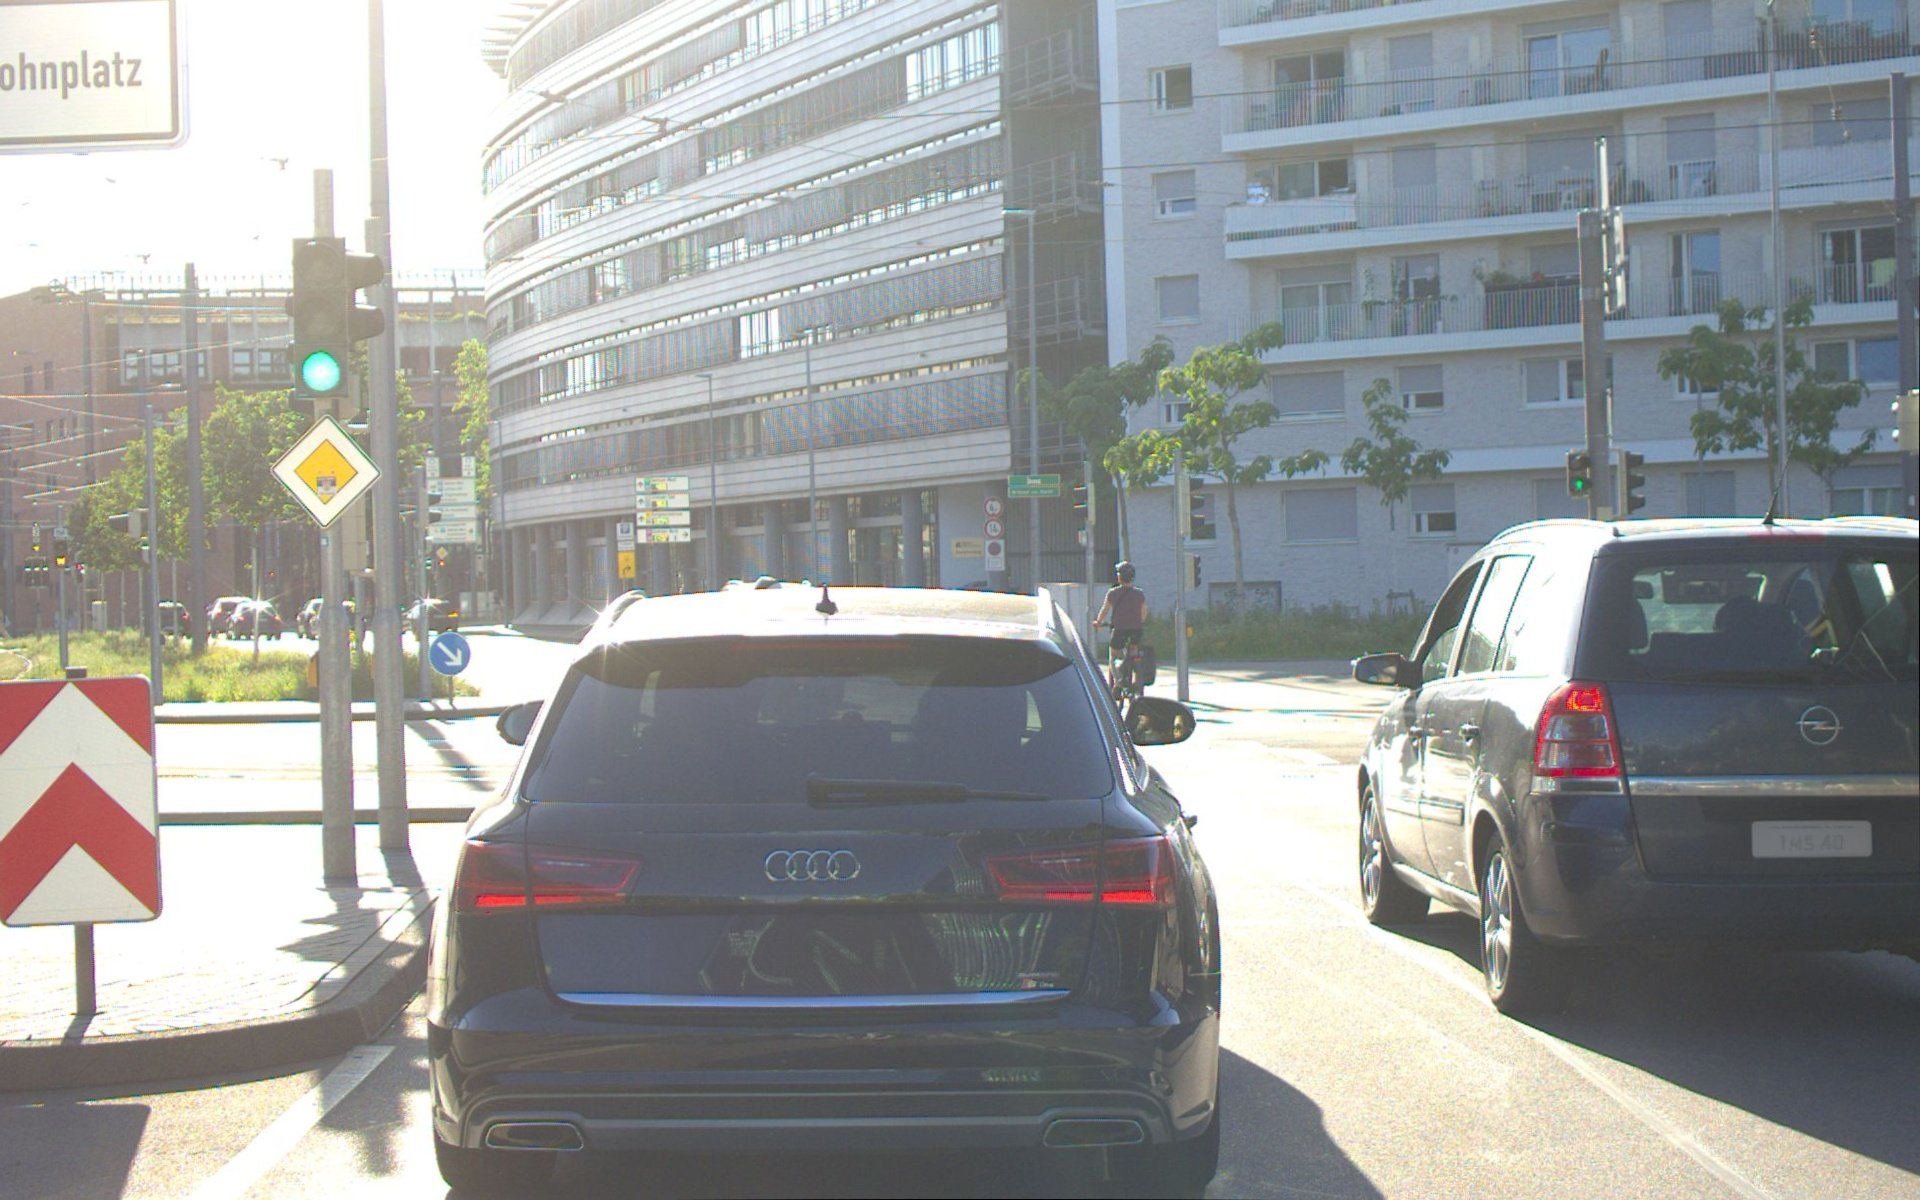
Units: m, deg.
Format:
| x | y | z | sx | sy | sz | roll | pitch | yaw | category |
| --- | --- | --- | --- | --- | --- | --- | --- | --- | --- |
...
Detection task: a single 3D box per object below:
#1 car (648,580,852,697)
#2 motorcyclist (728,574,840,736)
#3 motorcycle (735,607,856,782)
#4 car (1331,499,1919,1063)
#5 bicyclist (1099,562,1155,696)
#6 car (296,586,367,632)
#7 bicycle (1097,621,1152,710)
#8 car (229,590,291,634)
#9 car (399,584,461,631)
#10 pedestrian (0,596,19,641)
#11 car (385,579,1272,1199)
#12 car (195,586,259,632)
| x | y | z | sx | sy | sz | roll | pitch | yaw | category |
| --- | --- | --- | --- | --- | --- | --- | --- | --- | --- |
| -3.336 | 0.560 | 53.716 | 2.002 | 1.709 | 4.373 | 0 | 1 | -20 | car |
| -1.480 | 0.454 | 28.820 | 0.862 | 1.322 | 0.681 | -1 | 0 | -6 | motorcyclist |
| -1.388 | 0.767 | 28.748 | 0.862 | 1.388 | 1.894 | -1 | 0 | -6 | motorcycle |
| 2.499 | 0.544 | 12.509 | 1.745 | 1.690 | 4.261 | 1 | 0 | -1 | car |
| 2.081 | 0.352 | 42.992 | 0.654 | 1.637 | 0.972 | -1 | 1 | 3 | bicyclist |
| -23.723 | 0.335 | 129.615 | 1.993 | 1.590 | 4.001 | -2 | 0 | -19 | car |
| 2.054 | 0.807 | 42.997 | 0.654 | 1.039 | 1.929 | -1 | 1 | 3 | bicycle |
| -26.924 | 0.467 | 132.175 | 1.993 | 1.590 | 4.001 | -2 | 0 | -16 | car |
| -21.919 | 0.312 | 142.005 | 1.993 | 1.831 | 4.001 | -2 | 0 | -16 | car |
| -40.145 | 0.789 | 144.780 | 0.902 | 1.818 | 0.829 | -2 | -1 | -17 | pedestrian |
| -0.307 | 0.683 | 9.157 | 1.842 | 1.449 | 4.000 | 0 | 1 | -1 | car |
| -29.414 | 0.379 | 137.876 | 1.993 | 1.700 | 4.001 | -2 | 0 | -19 | car |
